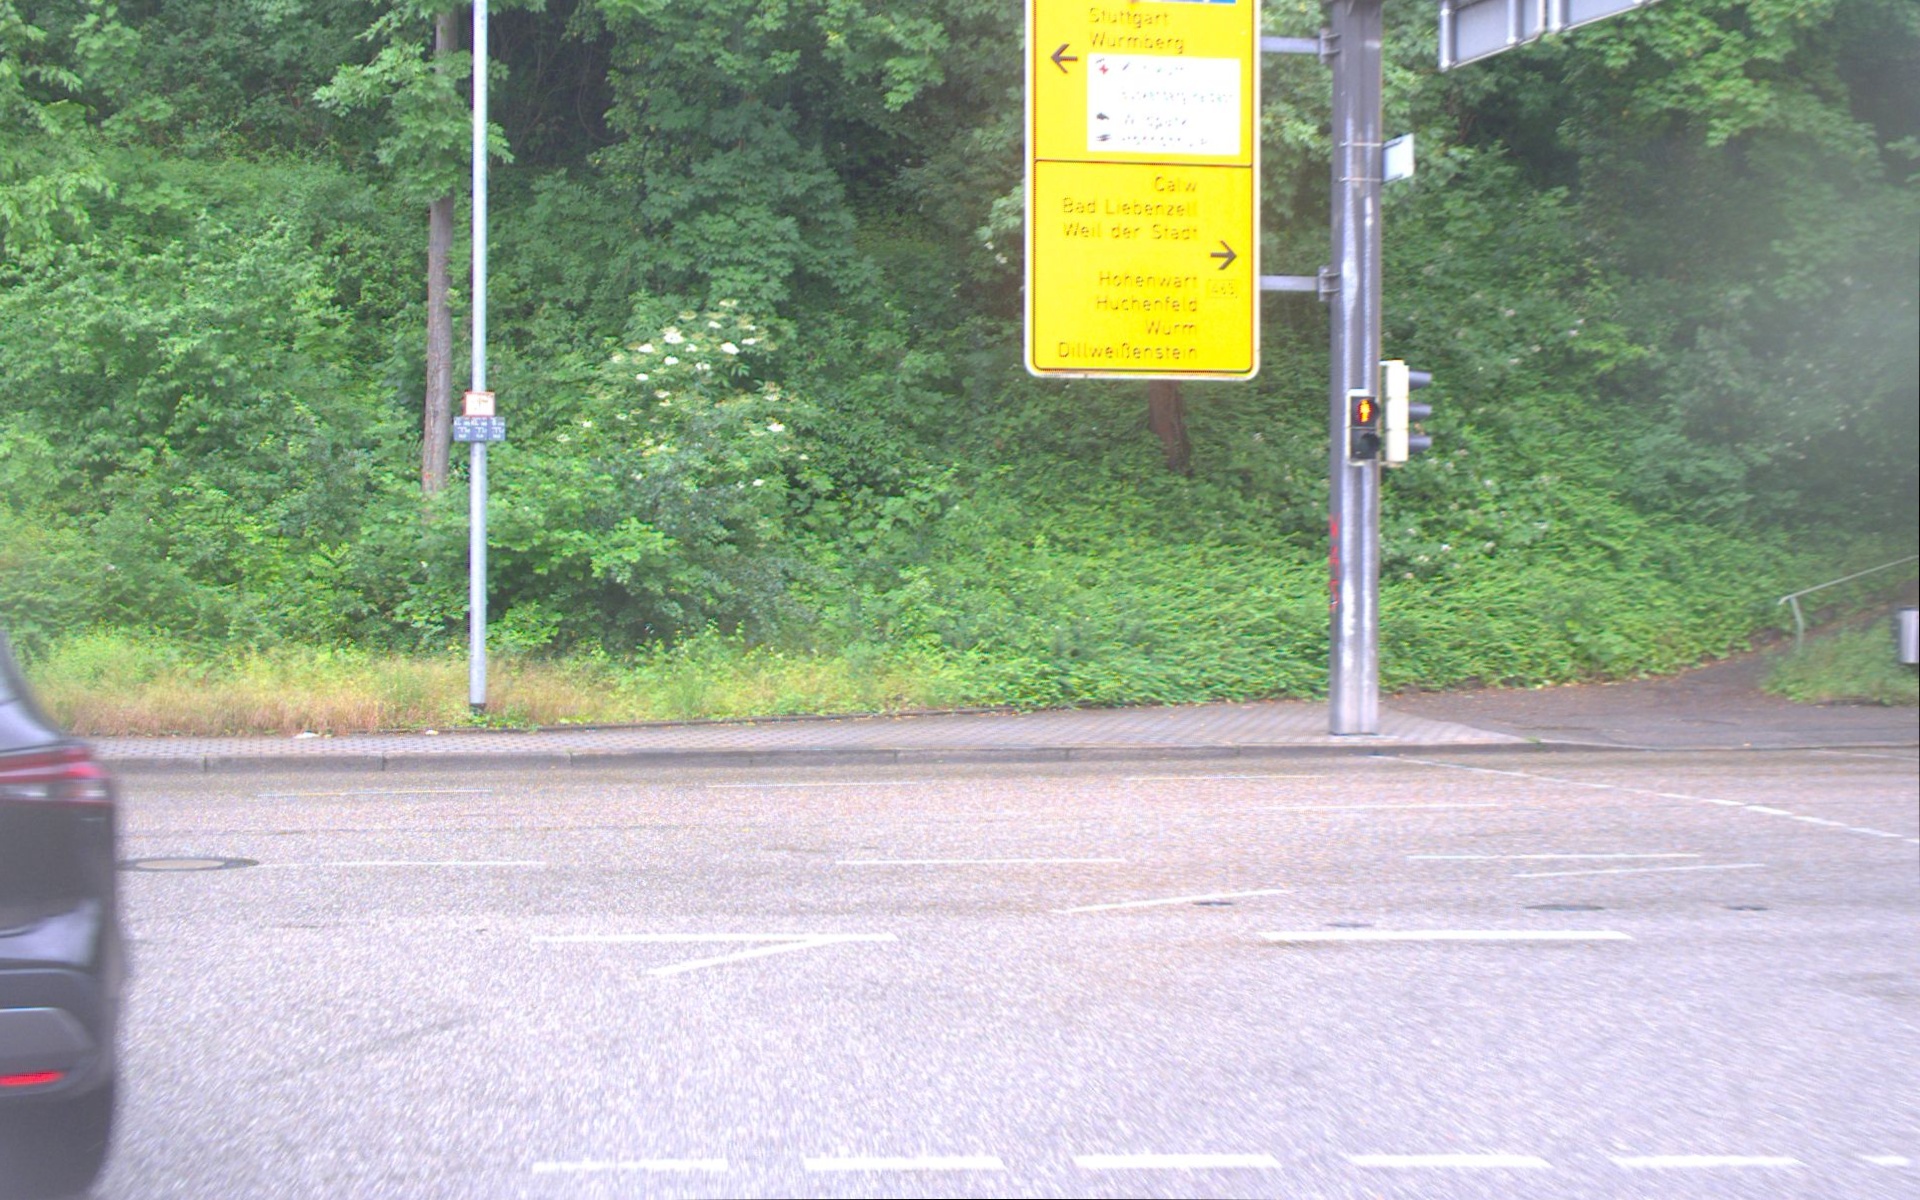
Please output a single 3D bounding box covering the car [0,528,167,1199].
[{"bbox_3d":[-3.502,0.655,8.705,1.811,1.597,4.000,-1,1,-30],"label":"car"}]
